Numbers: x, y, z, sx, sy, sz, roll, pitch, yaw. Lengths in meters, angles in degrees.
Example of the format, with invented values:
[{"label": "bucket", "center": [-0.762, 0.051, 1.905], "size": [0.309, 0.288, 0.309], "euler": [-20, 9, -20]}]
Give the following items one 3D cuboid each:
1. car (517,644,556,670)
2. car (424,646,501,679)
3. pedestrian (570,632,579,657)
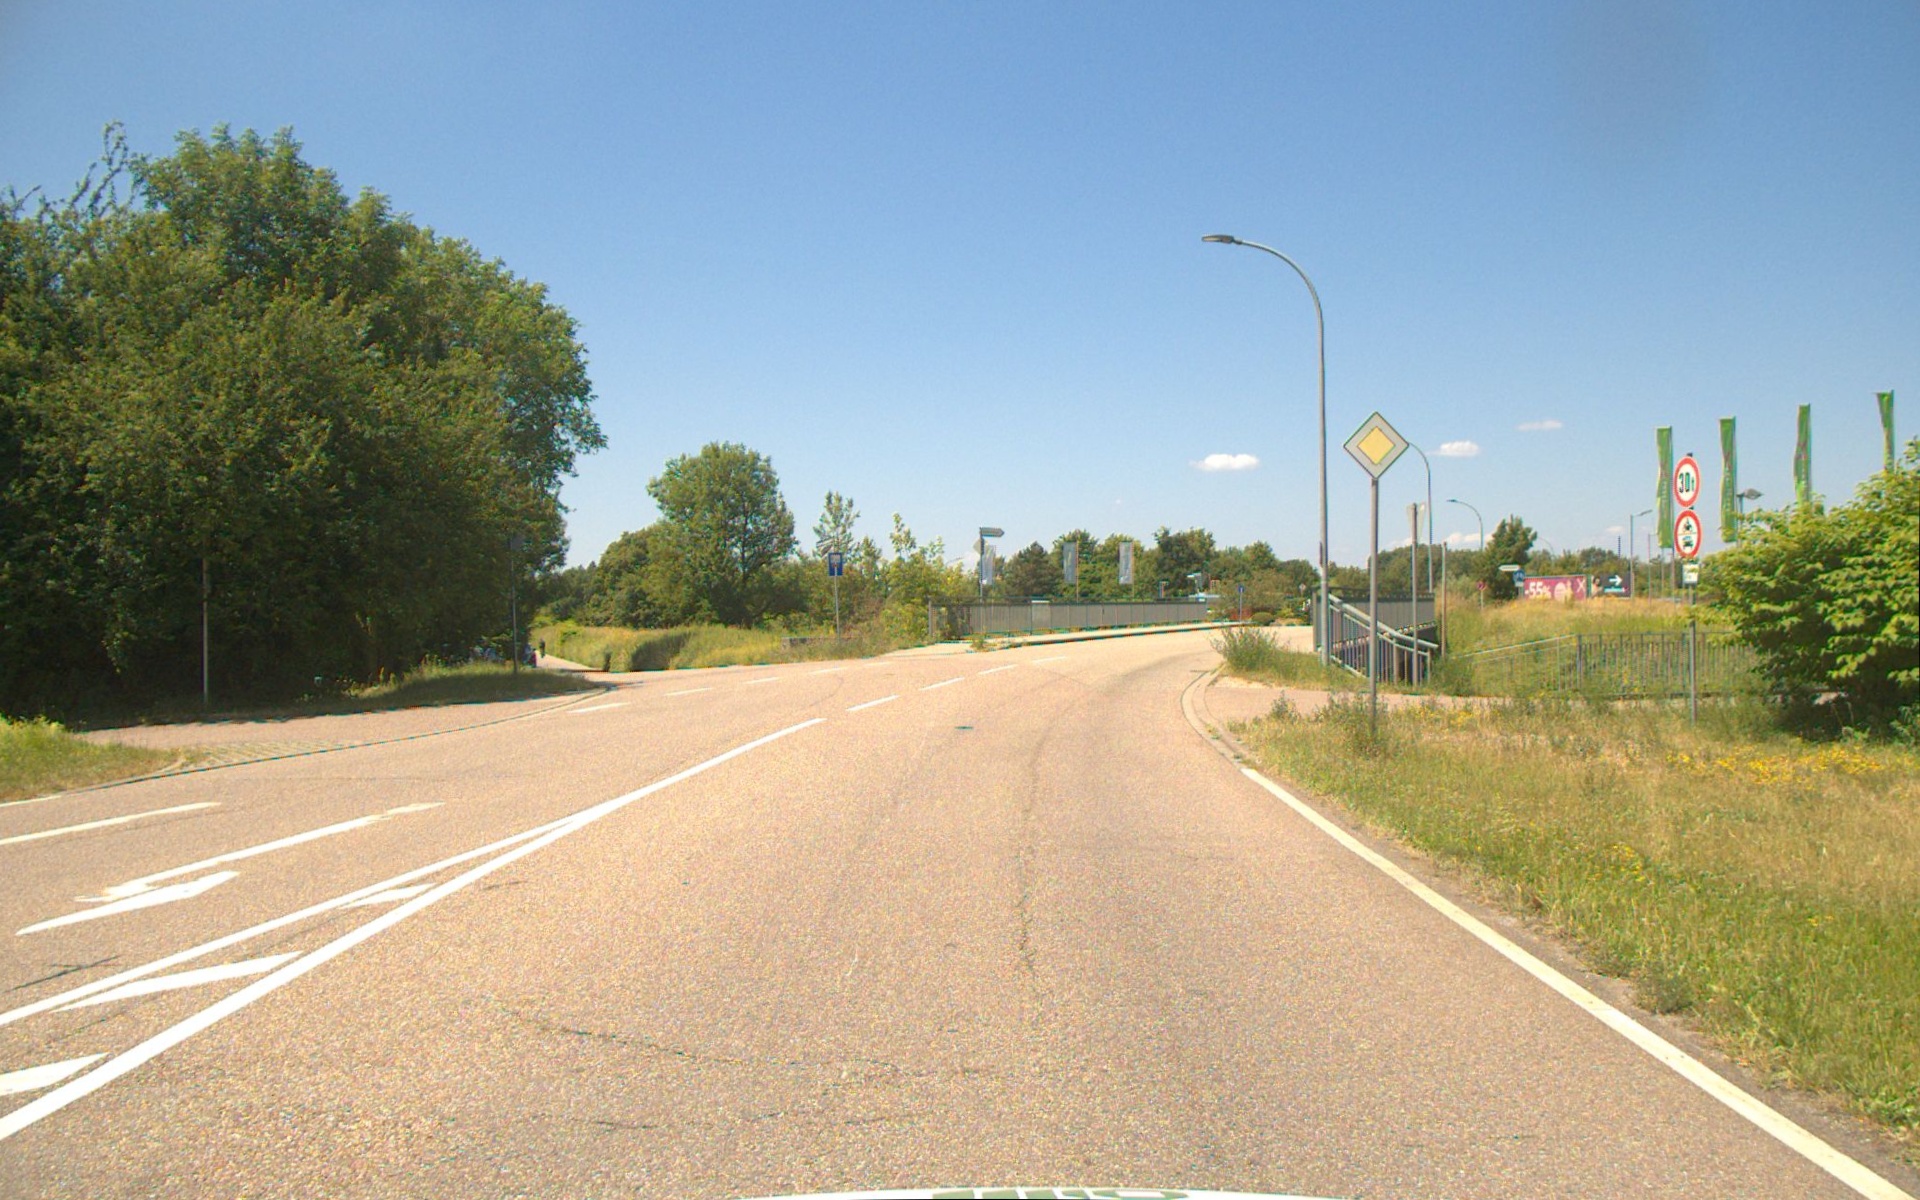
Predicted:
[{"label": "car", "center": [-28.413, 3.802, 111.021], "size": [1.967, 1.624, 3.972], "euler": [-2, -1, -23]}, {"label": "car", "center": [-27.690, 3.476, 92.014], "size": [3.930, 1.598, 1.987], "euler": [-2, 0, -21]}, {"label": "pedestrian", "center": [-32.875, 3.806, 141.139], "size": [0.603, 2.049, 0.621], "euler": [-2, 0, -22]}]
